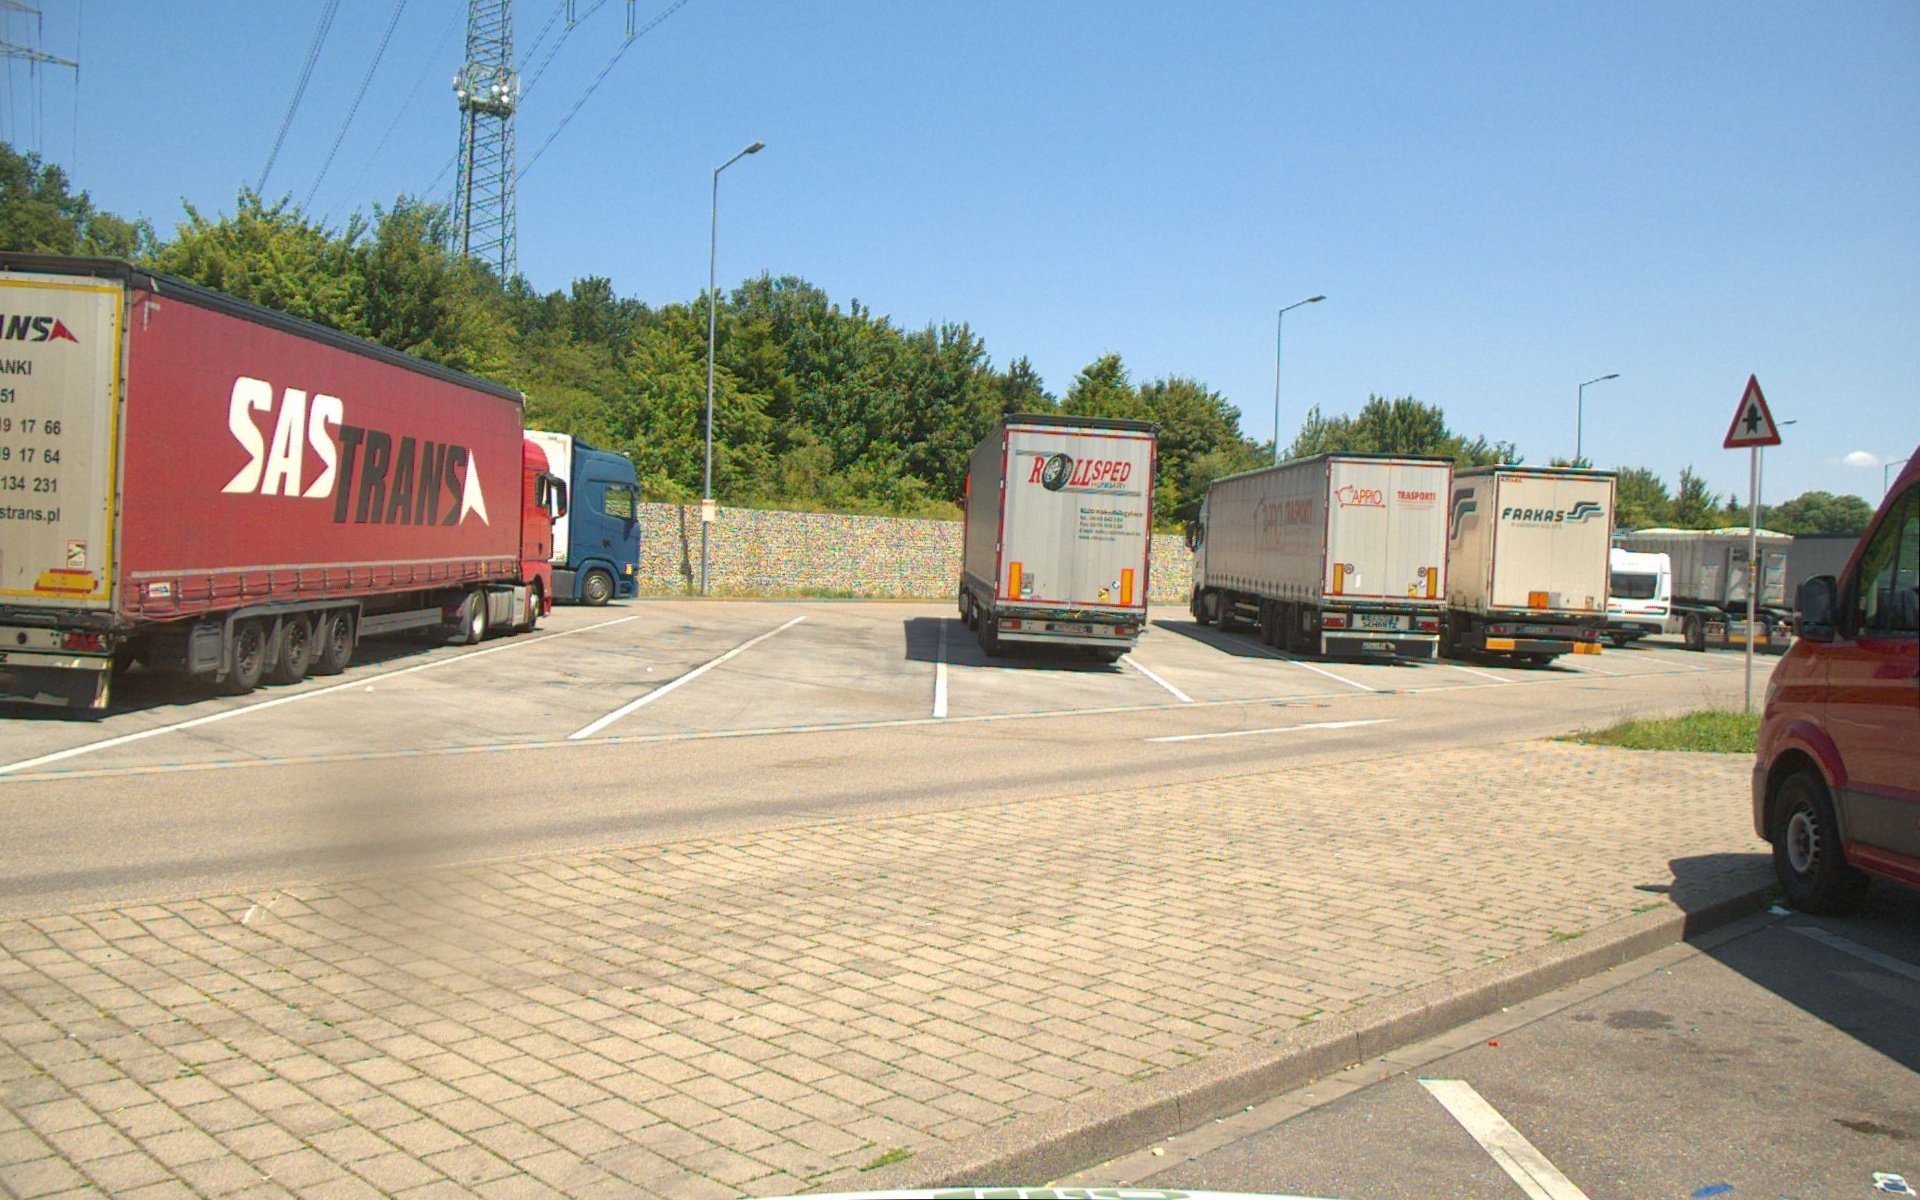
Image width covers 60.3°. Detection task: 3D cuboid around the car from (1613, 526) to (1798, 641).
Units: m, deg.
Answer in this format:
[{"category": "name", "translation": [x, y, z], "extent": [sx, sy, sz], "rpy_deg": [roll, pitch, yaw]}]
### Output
[{"category": "car", "translation": [21.687, -0.509, 48.493], "extent": [2.449, 3.128, 6.350], "rpy_deg": [1, 1, -1]}]

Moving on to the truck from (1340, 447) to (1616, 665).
[{"category": "truck", "translation": [11.703, -0.844, 38.947], "extent": [2.534, 4.299, 11.967], "rpy_deg": [1, 0, -1]}]

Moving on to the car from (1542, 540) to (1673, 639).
[{"category": "car", "translation": [18.222, -0.280, 46.734], "extent": [2.072, 2.645, 3.999], "rpy_deg": [1, 0, -1]}]

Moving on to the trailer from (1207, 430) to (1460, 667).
[{"category": "trailer", "translation": [8.163, -1.108, 38.326], "extent": [2.627, 4.530, 12.826], "rpy_deg": [1, 1, -1]}]

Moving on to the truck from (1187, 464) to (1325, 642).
[{"category": "truck", "translation": [8.008, -1.262, 45.438], "extent": [2.607, 4.530, 5.863], "rpy_deg": [1, 1, -1]}]

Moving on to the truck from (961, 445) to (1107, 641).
[{"category": "truck", "translation": [1.556, -1.246, 37.678], "extent": [2.813, 4.050, 6.028], "rpy_deg": [1, 1, -2]}]

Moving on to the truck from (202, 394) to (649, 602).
[{"category": "truck", "translation": [-11.978, -2.100, 38.288], "extent": [2.203, 4.104, 9.989], "rpy_deg": [2, 0, 43]}]

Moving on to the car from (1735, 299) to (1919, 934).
[{"category": "car", "translation": [4.959, 0.102, 5.554], "extent": [1.952, 2.679, 6.385], "rpy_deg": [1, 1, 3]}]

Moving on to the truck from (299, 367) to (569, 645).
[{"category": "truck", "translation": [-8.737, -1.483, 28.235], "extent": [2.749, 4.205, 5.893], "rpy_deg": [1, 1, -1]}]

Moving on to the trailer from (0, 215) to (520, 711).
[{"category": "trailer", "translation": [-8.649, -1.323, 20.979], "extent": [2.743, 4.293, 13.200], "rpy_deg": [1, 1, -1]}]

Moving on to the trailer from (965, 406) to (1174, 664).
[{"category": "trailer", "translation": [1.778, -1.134, 32.118], "extent": [2.839, 4.083, 11.313], "rpy_deg": [1, 1, -2]}]
